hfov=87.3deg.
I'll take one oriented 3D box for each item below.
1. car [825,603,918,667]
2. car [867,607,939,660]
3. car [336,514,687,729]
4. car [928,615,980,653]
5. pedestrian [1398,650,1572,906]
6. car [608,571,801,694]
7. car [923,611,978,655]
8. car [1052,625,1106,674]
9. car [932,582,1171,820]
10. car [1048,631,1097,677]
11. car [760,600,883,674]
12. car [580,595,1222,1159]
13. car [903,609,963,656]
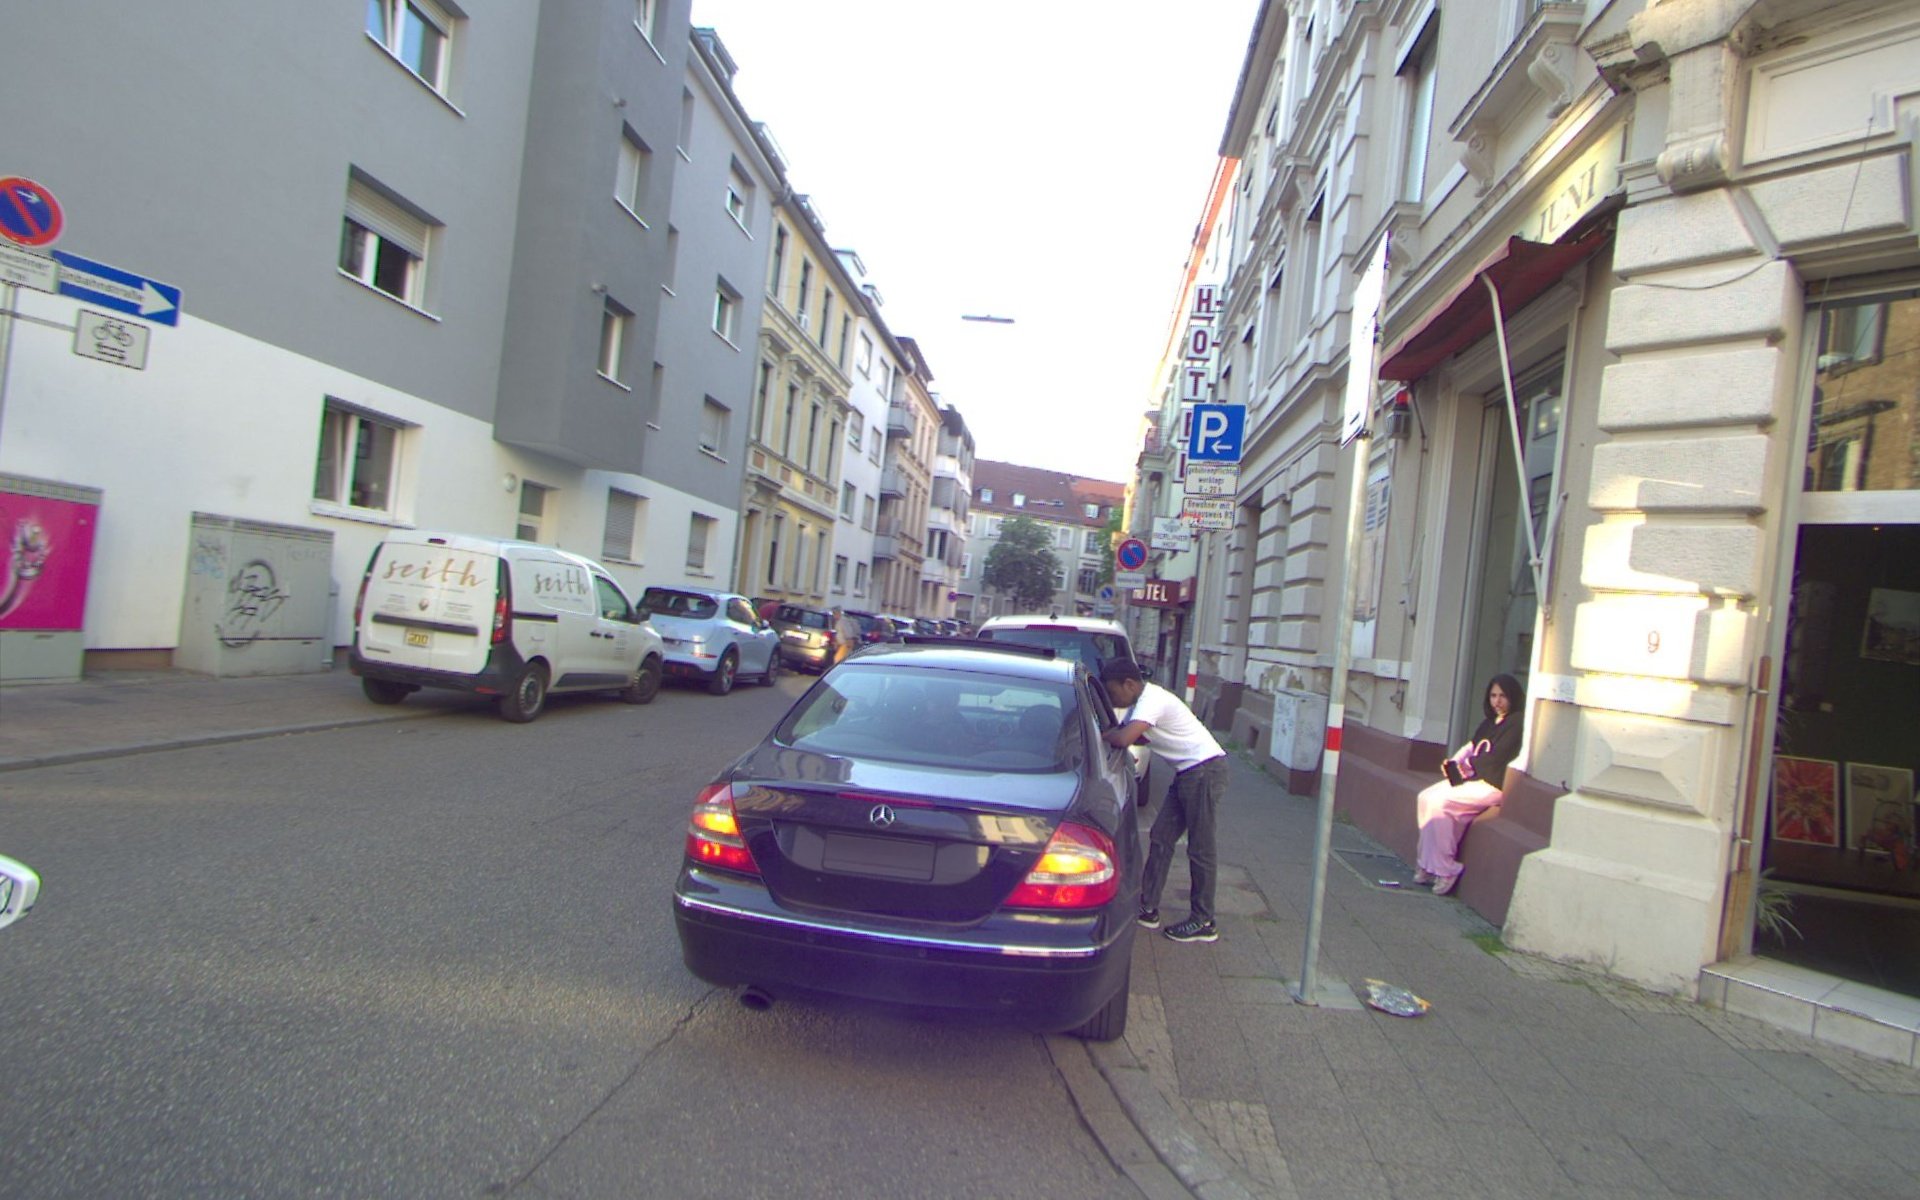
[{"bbox_3d":[-2.462,0.976,28.878,1.700,1.527,3.832,6,0,8],"label":"car"},{"bbox_3d":[-1.851,1.114,33.869,1.604,1.490,3.756,6,0,8],"label":"car"},{"bbox_3d":[-4.792,0.241,11.521,1.605,1.836,4.187,6,0,7],"label":"car"},{"bbox_3d":[-0.272,1.734,51.928,1.962,1.683,3.980,6,-1,9],"label":"car"},{"bbox_3d":[3.378,1.114,6.530,0.703,1.489,0.581,6,0,8],"label":"pedestrian"},{"bbox_3d":[-4.042,0.477,16.706,1.736,1.583,4.366,6,0,3],"label":"car"},{"bbox_3d":[-0.374,1.486,45.914,1.962,1.686,4.411,6,-1,4],"label":"car"},{"bbox_3d":[5.011,2.042,42.054,1.962,1.753,4.062,6,-1,8],"label":"car"},{"bbox_3d":[1.029,0.872,10.488,1.788,1.745,4.463,6,0,8],"label":"car"},{"bbox_3d":[4.015,1.873,35.661,1.635,1.477,3.761,0,-1,8],"label":"car"},{"bbox_3d":[-3.059,0.858,23.068,1.657,1.348,4.136,6,-2,7],"label":"car"},{"bbox_3d":[0.177,0.868,5.377,1.854,1.425,4.732,6,0,10],"label":"car"},{"bbox_3d":[-1.011,1.283,39.860,1.589,1.589,4.305,6,0,8],"label":"car"}]
